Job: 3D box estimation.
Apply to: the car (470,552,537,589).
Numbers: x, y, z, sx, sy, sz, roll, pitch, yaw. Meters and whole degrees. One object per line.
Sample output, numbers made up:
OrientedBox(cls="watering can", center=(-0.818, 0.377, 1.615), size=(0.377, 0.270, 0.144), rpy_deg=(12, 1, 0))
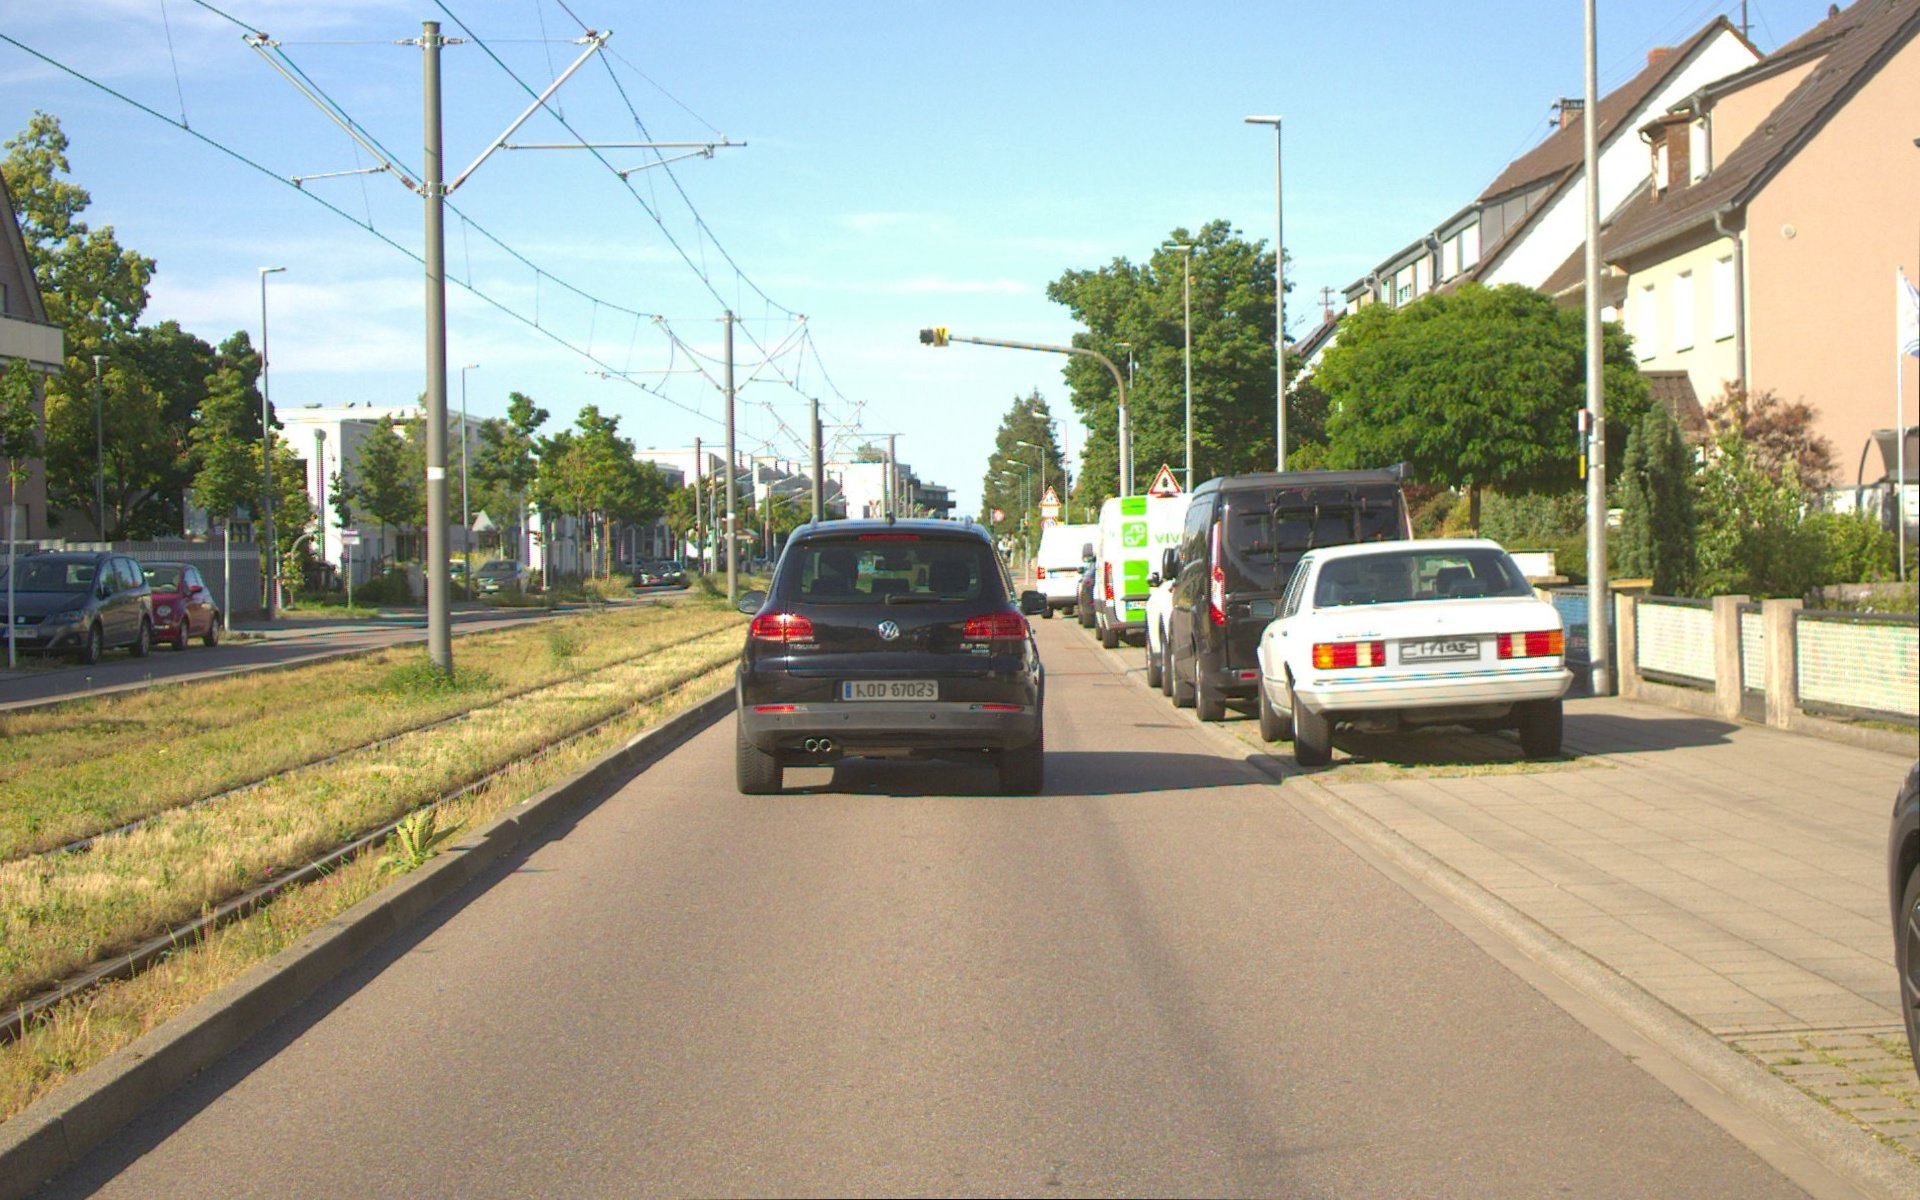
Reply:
OrientedBox(cls="car", center=(-18.554, -1.190, 139.762), size=(1.811, 1.456, 4.317), rpy_deg=(1, 0, 5))

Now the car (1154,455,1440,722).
OrientedBox(cls="car", center=(2.910, -0.126, 30.810), size=(1.960, 2.137, 5.336), rpy_deg=(-2, 1, 0))

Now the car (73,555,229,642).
OrientedBox(cls="car", center=(-14.016, -0.051, 59.749), size=(1.695, 1.400, 4.079), rpy_deg=(-1, 1, 1))

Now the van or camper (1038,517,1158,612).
OrientedBox(cls="van or camper", center=(3.020, -0.798, 74.193), size=(2.028, 1.950, 5.293), rpy_deg=(-1, 1, 8))

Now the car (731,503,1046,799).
OrientedBox(cls="car", center=(-0.469, 0.274, 21.646), size=(1.775, 1.664, 4.000), rpy_deg=(1, 0, -2))

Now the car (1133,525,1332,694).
OrientedBox(cls="car", center=(2.844, 0.071, 36.661), size=(1.725, 1.640, 4.319), rpy_deg=(-2, 1, 0))

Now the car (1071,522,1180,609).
OrientedBox(cls="car", center=(3.032, -0.633, 63.777), size=(1.748, 1.489, 5.155), rpy_deg=(-2, 0, 0))

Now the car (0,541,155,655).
OrientedBox(cls="car", center=(-14.107, -0.068, 53.753), size=(1.819, 1.678, 4.846), rpy_deg=(1, 1, 1))

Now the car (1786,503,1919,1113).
OrientedBox(cls="car", center=(3.218, 0.514, 7.380), size=(1.777, 1.493, 4.728), rpy_deg=(-1, 1, 1))

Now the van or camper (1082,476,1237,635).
OrientedBox(cls="van or camper", center=(3.020, -0.678, 53.380), size=(1.993, 2.263, 6.305), rpy_deg=(-2, 0, 0))

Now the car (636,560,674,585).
OrientedBox(cls="car", center=(-18.005, -1.618, 203.192), size=(1.688, 1.384, 4.387), rpy_deg=(-2, 1, 2))

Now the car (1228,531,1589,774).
OrientedBox(cls="car", center=(3.015, 0.274, 24.243), size=(1.852, 1.439, 5.613), rpy_deg=(-3, 1, 1))

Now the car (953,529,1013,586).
OrientedBox(cls="car", center=(0.729, -1.413, 113.528), size=(1.627, 1.822, 4.131), rpy_deg=(-1, 1, -4))
